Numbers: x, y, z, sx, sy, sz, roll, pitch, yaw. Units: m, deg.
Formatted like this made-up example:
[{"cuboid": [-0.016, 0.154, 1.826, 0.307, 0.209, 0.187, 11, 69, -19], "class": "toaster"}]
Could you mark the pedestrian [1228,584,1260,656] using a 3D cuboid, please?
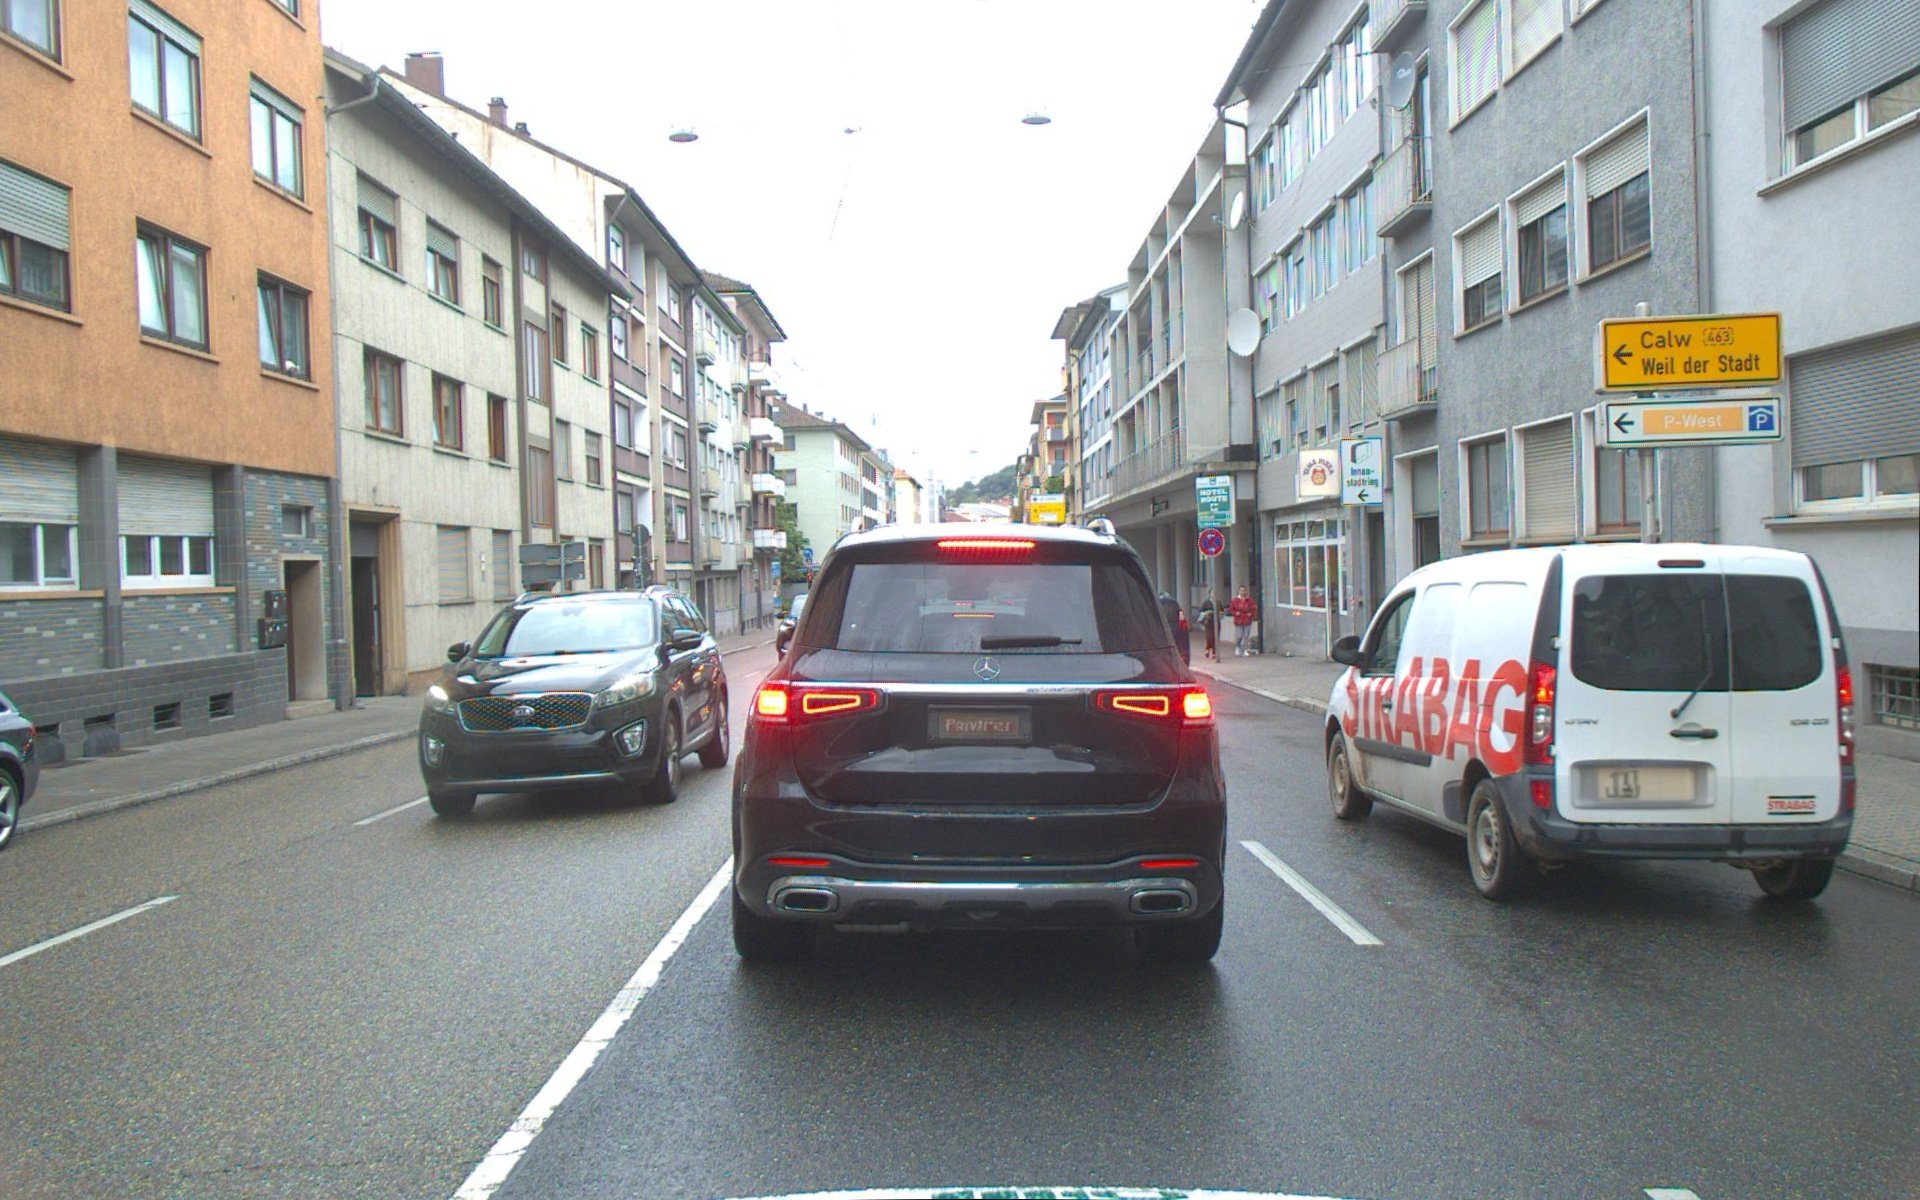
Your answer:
[{"cuboid": [6.530, 0.461, 38.077, 0.548, 1.606, 0.526, -4, 0, 2], "class": "pedestrian"}]

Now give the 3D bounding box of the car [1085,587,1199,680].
[{"cuboid": [3.357, 0.587, 31.194, 1.771, 1.634, 4.212, 0, 0, 1], "class": "car"}]

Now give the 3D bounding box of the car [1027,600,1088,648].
[{"cuboid": [3.102, 0.747, 53.296, 1.588, 1.455, 4.311, 1, 0, -1], "class": "car"}]

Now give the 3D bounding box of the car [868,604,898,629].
[{"cuboid": [-4.805, 1.044, 103.410, 1.733, 1.369, 3.886, -5, 0, -3], "class": "car"}]

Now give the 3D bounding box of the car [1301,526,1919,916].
[{"cuboid": [3.557, 0.559, 10.071, 1.901, 1.806, 4.745, 0, 0, -1], "class": "car"}]

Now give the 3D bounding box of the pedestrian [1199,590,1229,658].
[{"cuboid": [5.834, 0.548, 38.038, 0.496, 1.526, 0.562, -4, 0, -2], "class": "pedestrian"}]

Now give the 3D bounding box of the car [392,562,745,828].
[{"cuboid": [-3.062, 0.662, 13.951, 1.799, 1.757, 4.474, -4, 0, 0], "class": "car"}]

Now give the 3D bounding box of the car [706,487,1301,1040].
[{"cuboid": [0.107, 0.552, 7.590, 1.984, 1.837, 3.999, 1, 0, -1], "class": "car"}]

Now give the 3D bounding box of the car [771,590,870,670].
[{"cuboid": [-3.382, 0.687, 40.981, 2.083, 1.750, 4.816, -3, 0, -1], "class": "car"}]

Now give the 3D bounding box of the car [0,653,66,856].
[{"cuboid": [-7.962, 1.153, 10.877, 1.759, 1.463, 4.525, 1, 0, -1], "class": "car"}]
